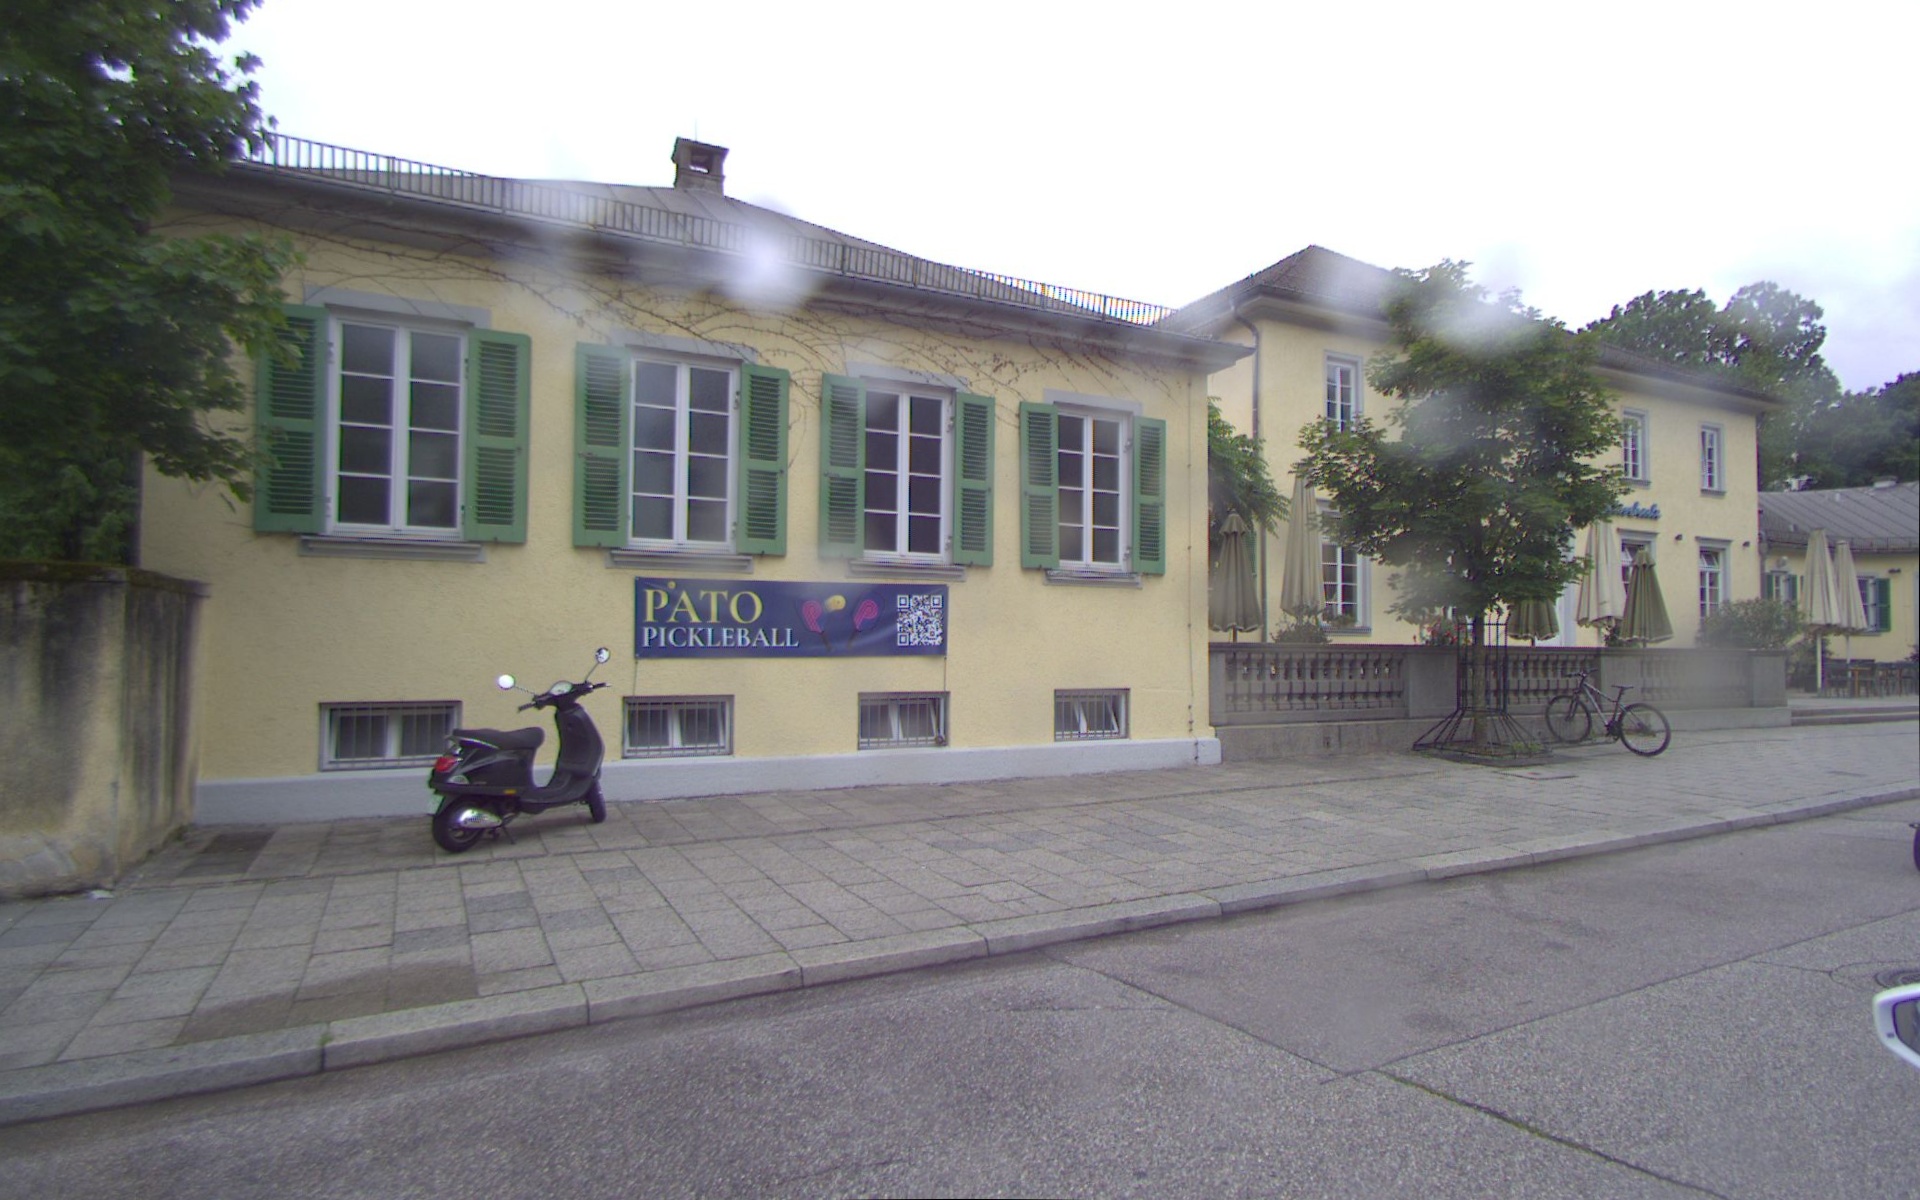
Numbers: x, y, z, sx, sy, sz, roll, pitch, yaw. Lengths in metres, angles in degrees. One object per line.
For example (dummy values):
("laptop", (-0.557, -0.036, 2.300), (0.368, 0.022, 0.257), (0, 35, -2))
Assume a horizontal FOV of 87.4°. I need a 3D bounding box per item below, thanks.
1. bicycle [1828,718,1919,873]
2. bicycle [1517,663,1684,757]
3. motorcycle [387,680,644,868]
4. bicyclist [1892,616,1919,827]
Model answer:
("bicycle", (7.610, 1.411, 7.498), (2.104, 1.017, 0.622), (1, -2, -15))
("bicycle", (8.836, 1.481, 13.953), (0.606, 1.113, 1.925), (1, -1, -25))
("motorcycle", (-3.229, 1.212, 7.511), (0.548, 1.115, 1.837), (1, -1, 25))
("bicyclist", (7.809, 0.920, 7.556), (0.961, 1.596, 0.743), (1, -2, -15))
